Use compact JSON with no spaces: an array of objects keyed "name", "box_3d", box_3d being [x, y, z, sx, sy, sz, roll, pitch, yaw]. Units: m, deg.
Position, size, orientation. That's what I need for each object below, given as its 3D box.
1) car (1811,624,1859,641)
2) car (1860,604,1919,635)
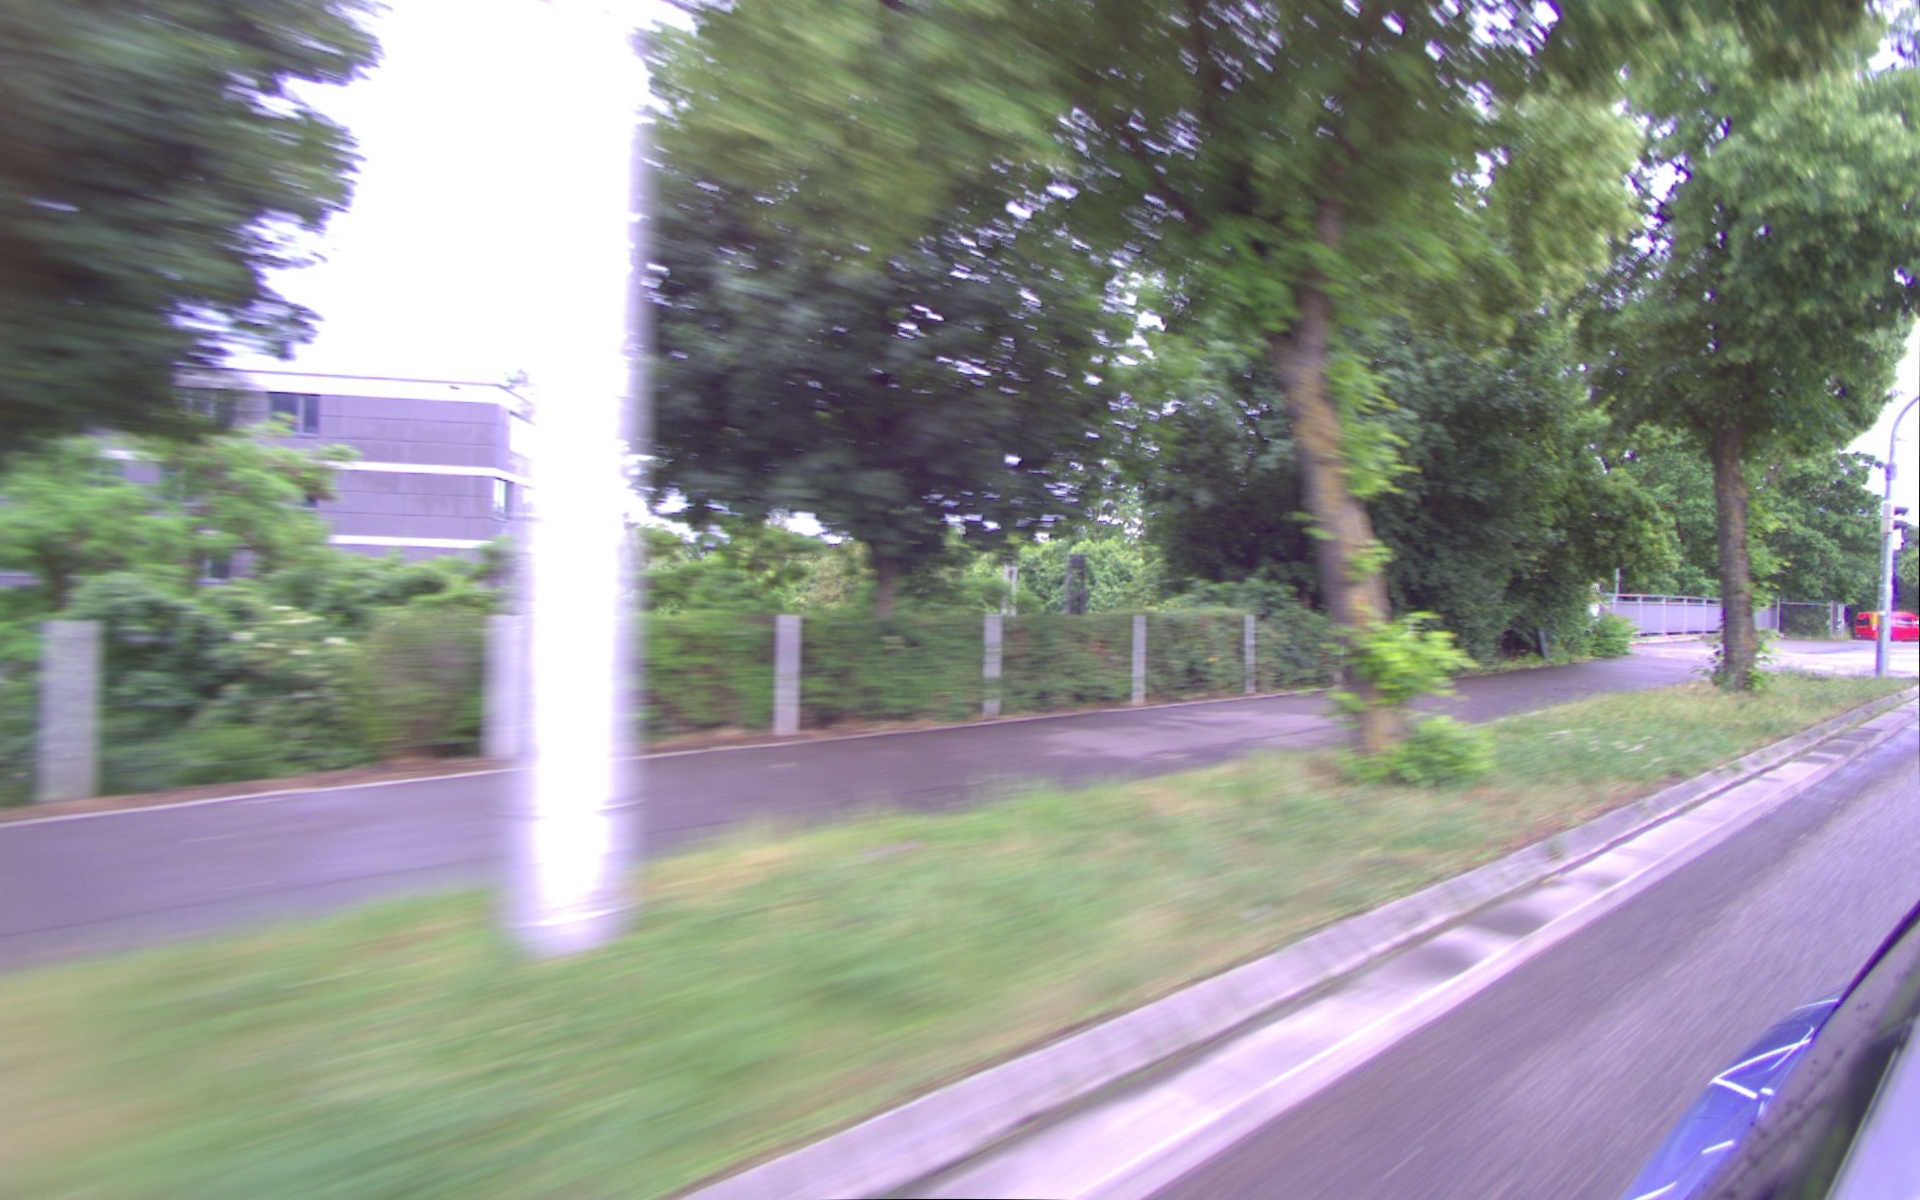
[{"name":"car","box_3d":[91.451,3.367,105.808,1.855,1.533,3.801,1,1,3]},{"name":"car","box_3d":[69.788,1.424,74.614,4.937,2.220,1.999,1,0,2]}]
